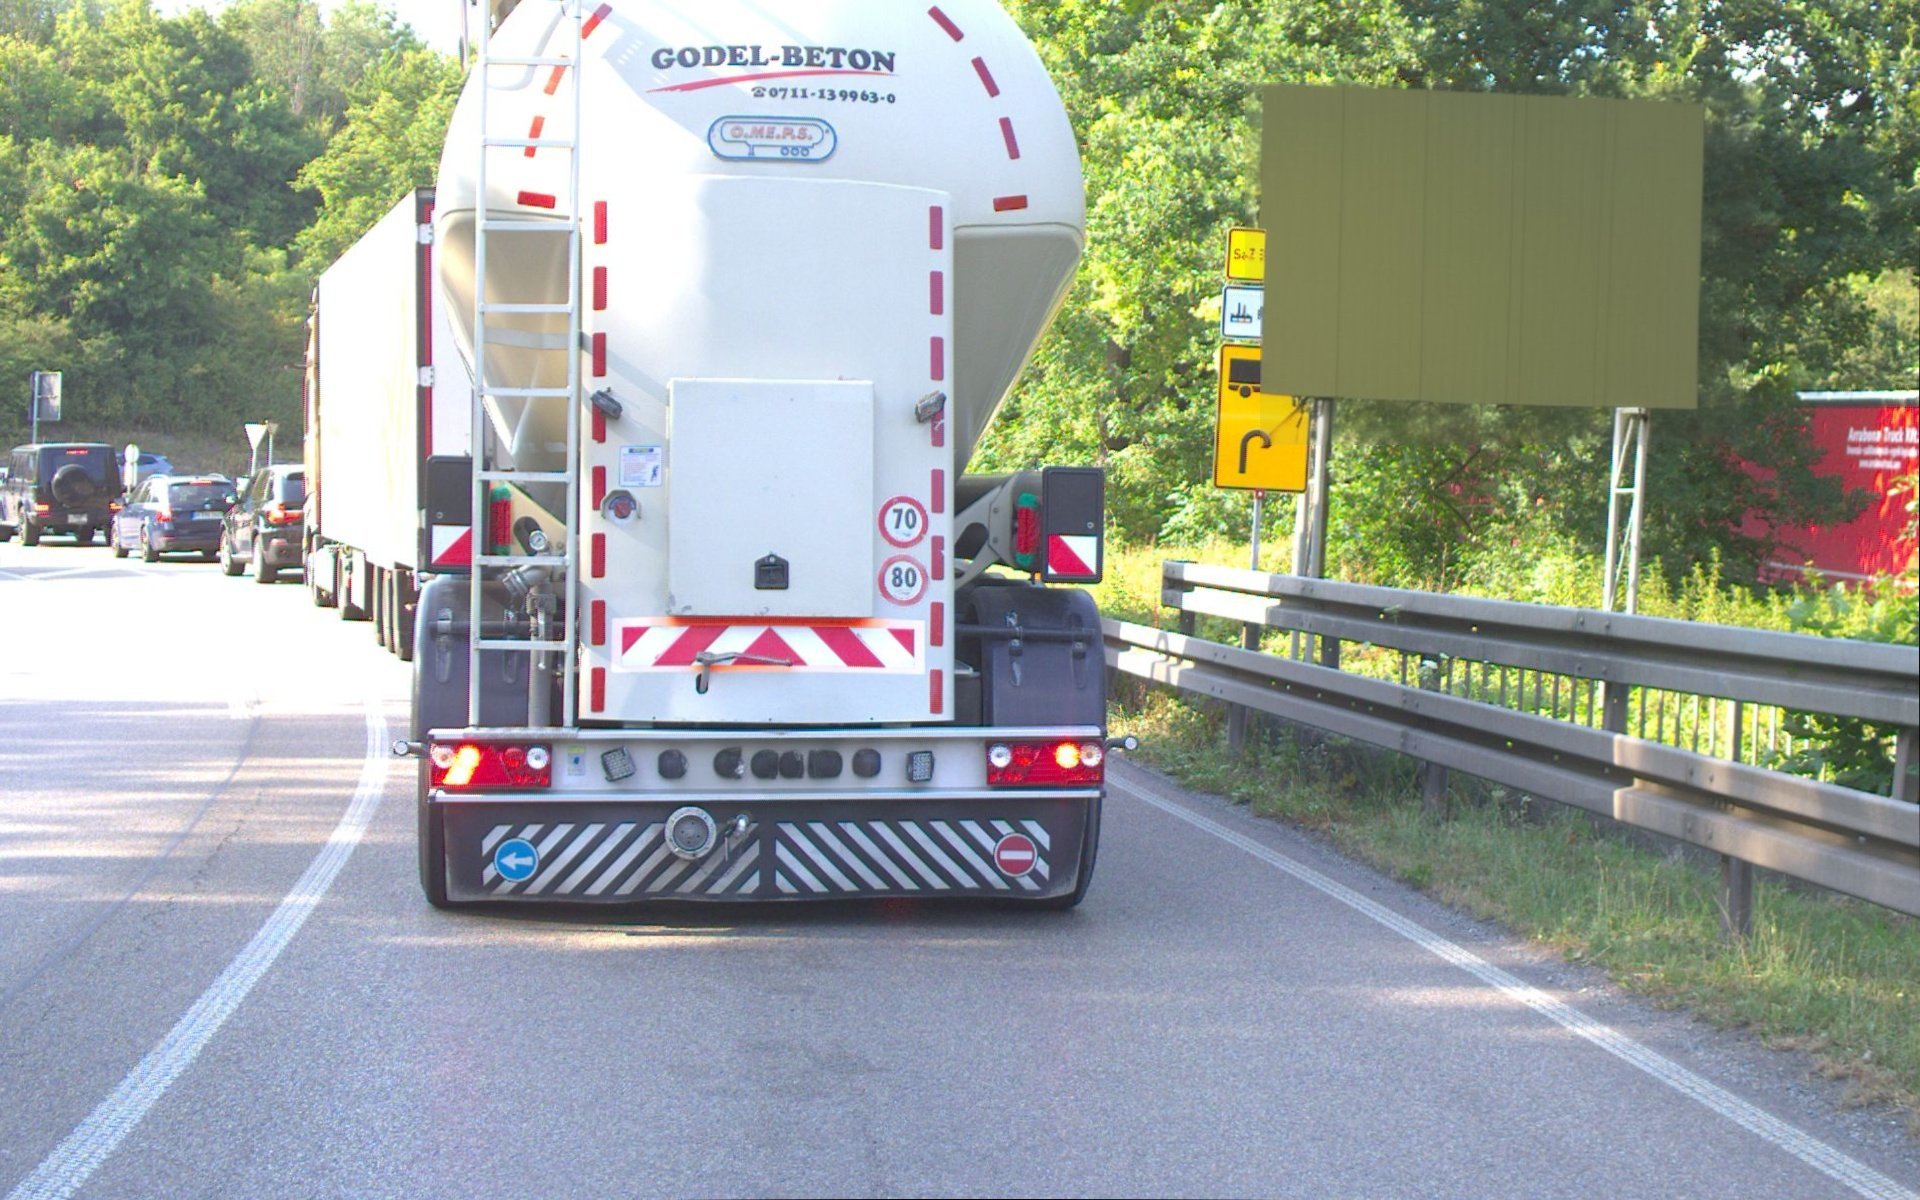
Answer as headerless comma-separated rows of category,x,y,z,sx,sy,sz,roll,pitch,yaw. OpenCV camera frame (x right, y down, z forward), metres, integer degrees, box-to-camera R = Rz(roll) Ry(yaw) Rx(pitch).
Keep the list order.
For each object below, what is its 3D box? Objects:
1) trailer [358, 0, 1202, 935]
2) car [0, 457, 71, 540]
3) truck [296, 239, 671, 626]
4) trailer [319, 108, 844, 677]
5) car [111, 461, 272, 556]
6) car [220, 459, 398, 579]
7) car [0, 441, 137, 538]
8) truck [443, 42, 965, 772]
trailer,-1.135,-1.188,16.719,2.886,4.439,9.608,1,1,-6
car,-20.694,-2.233,74.316,1.867,1.677,4.001,2,2,-29
truck,-5.747,-1.879,40.397,3.449,4.072,6.493,1,1,-15
trailer,-4.234,-1.841,34.320,3.544,4.497,12.989,1,1,-13
car,-13.191,-1.590,58.878,1.867,1.559,4.001,-1,2,-25
car,-9.597,-1.210,50.454,1.867,1.622,4.001,2,1,-20
car,-17.688,-2.201,67.563,1.956,1.845,4.001,-2,3,-28
truck,-1.856,-1.138,22.120,2.823,4.021,5.896,1,2,-9
